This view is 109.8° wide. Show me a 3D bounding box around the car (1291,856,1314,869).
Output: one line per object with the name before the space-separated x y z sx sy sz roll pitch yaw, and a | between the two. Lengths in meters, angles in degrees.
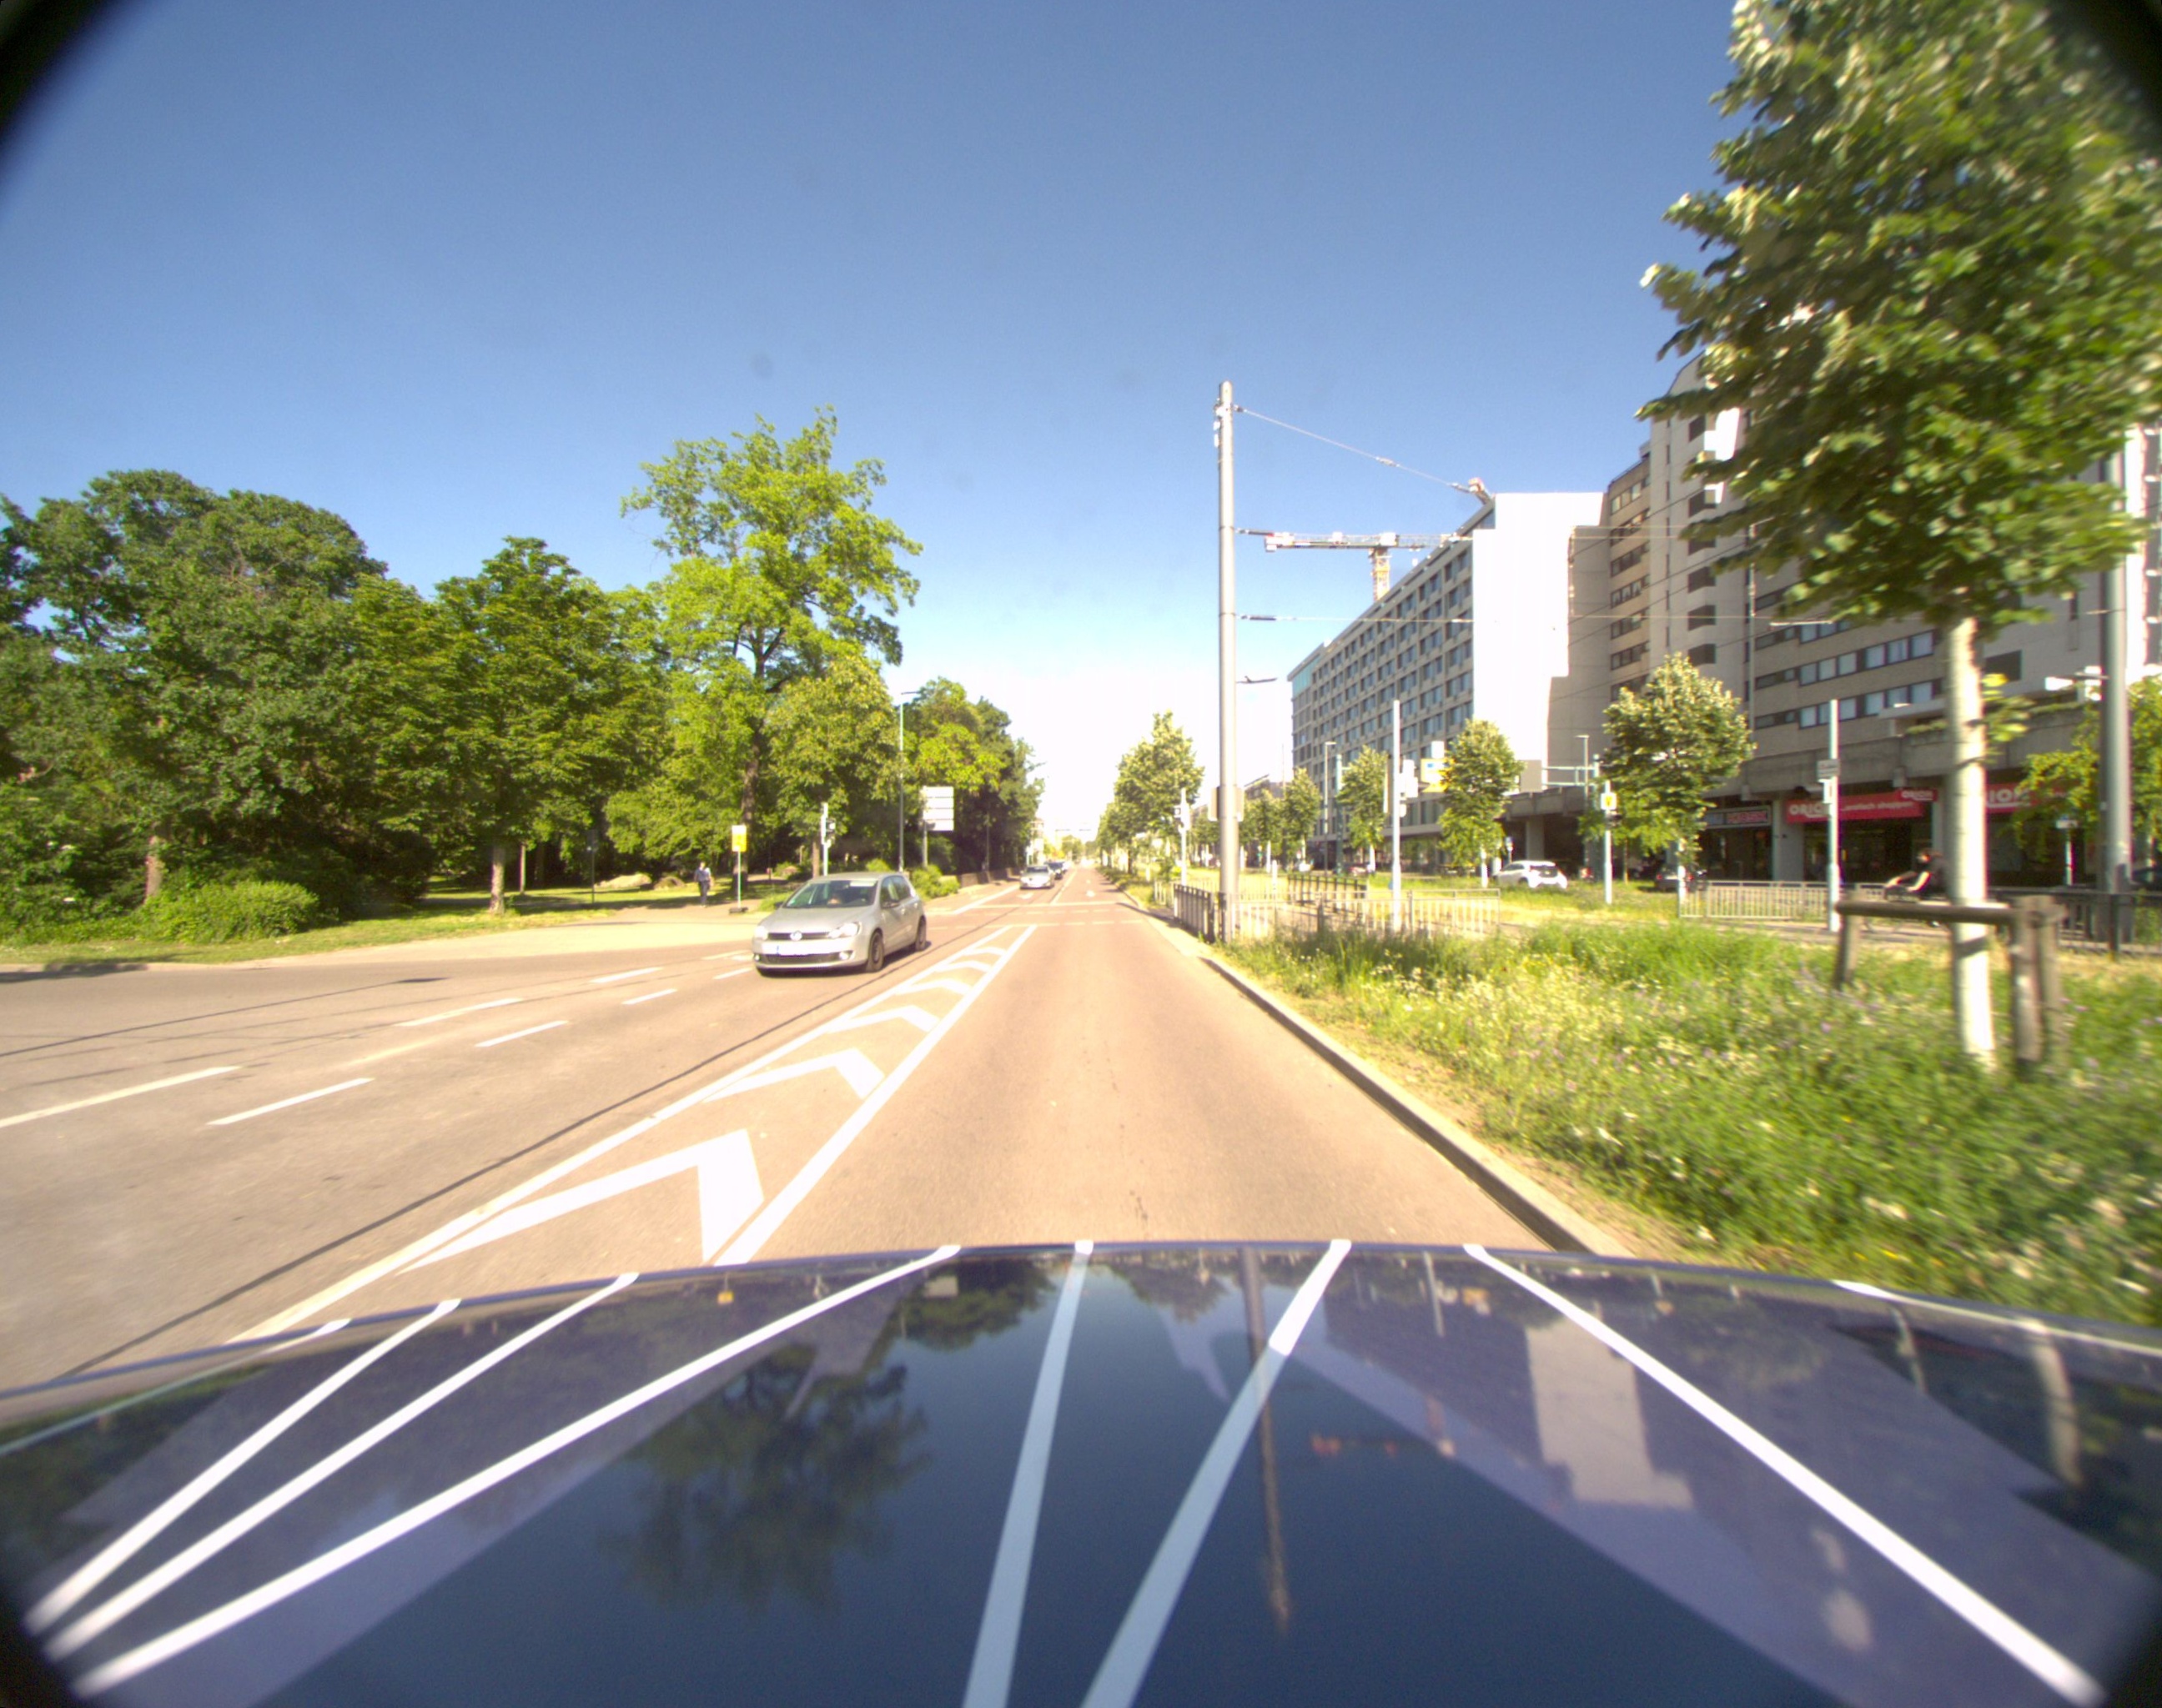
car | 29.117 1.094 100.082 1.865 1.541 3.773 -1 0 0

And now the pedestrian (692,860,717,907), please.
pedestrian | -14.072 1.099 28.397 0.739 1.692 0.873 -2 1 -29

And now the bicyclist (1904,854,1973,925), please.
bicyclist | 15.472 0.627 13.713 0.581 1.218 0.766 -2 1 -36

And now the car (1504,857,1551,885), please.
car | 29.750 1.113 50.569 1.791 1.674 4.008 -1 0 44

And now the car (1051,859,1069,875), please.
car | -2.431 1.477 89.334 1.998 1.718 4.000 -1 0 0

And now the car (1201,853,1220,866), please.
car | 18.224 0.780 106.997 1.998 1.808 4.286 -1 0 1

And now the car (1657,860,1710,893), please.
car | 30.386 1.103 38.292 1.712 1.511 4.008 -1 0 44

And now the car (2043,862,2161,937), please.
car | 24.005 1.019 16.085 1.999 1.569 4.105 2 0 -1

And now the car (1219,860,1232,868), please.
car | 28.920 1.993 152.154 1.827 1.499 3.813 -1 0 0

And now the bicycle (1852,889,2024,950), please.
bicycle | 15.458 1.145 13.771 0.563 0.946 2.011 -2 0 -36

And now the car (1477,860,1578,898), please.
car | 20.860 1.128 35.722 1.999 1.569 4.506 -1 0 -1

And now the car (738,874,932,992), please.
car | -3.738 1.127 12.334 1.703 1.465 4.000 -1 0 2

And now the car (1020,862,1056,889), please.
car | -2.474 1.201 44.513 1.839 1.415 4.000 -1 0 0

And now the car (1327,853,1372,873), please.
car | 21.788 0.696 61.854 1.999 1.569 4.506 -1 0 -1

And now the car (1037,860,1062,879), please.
car | -2.629 1.242 63.728 1.999 1.493 3.999 0 0 -2
